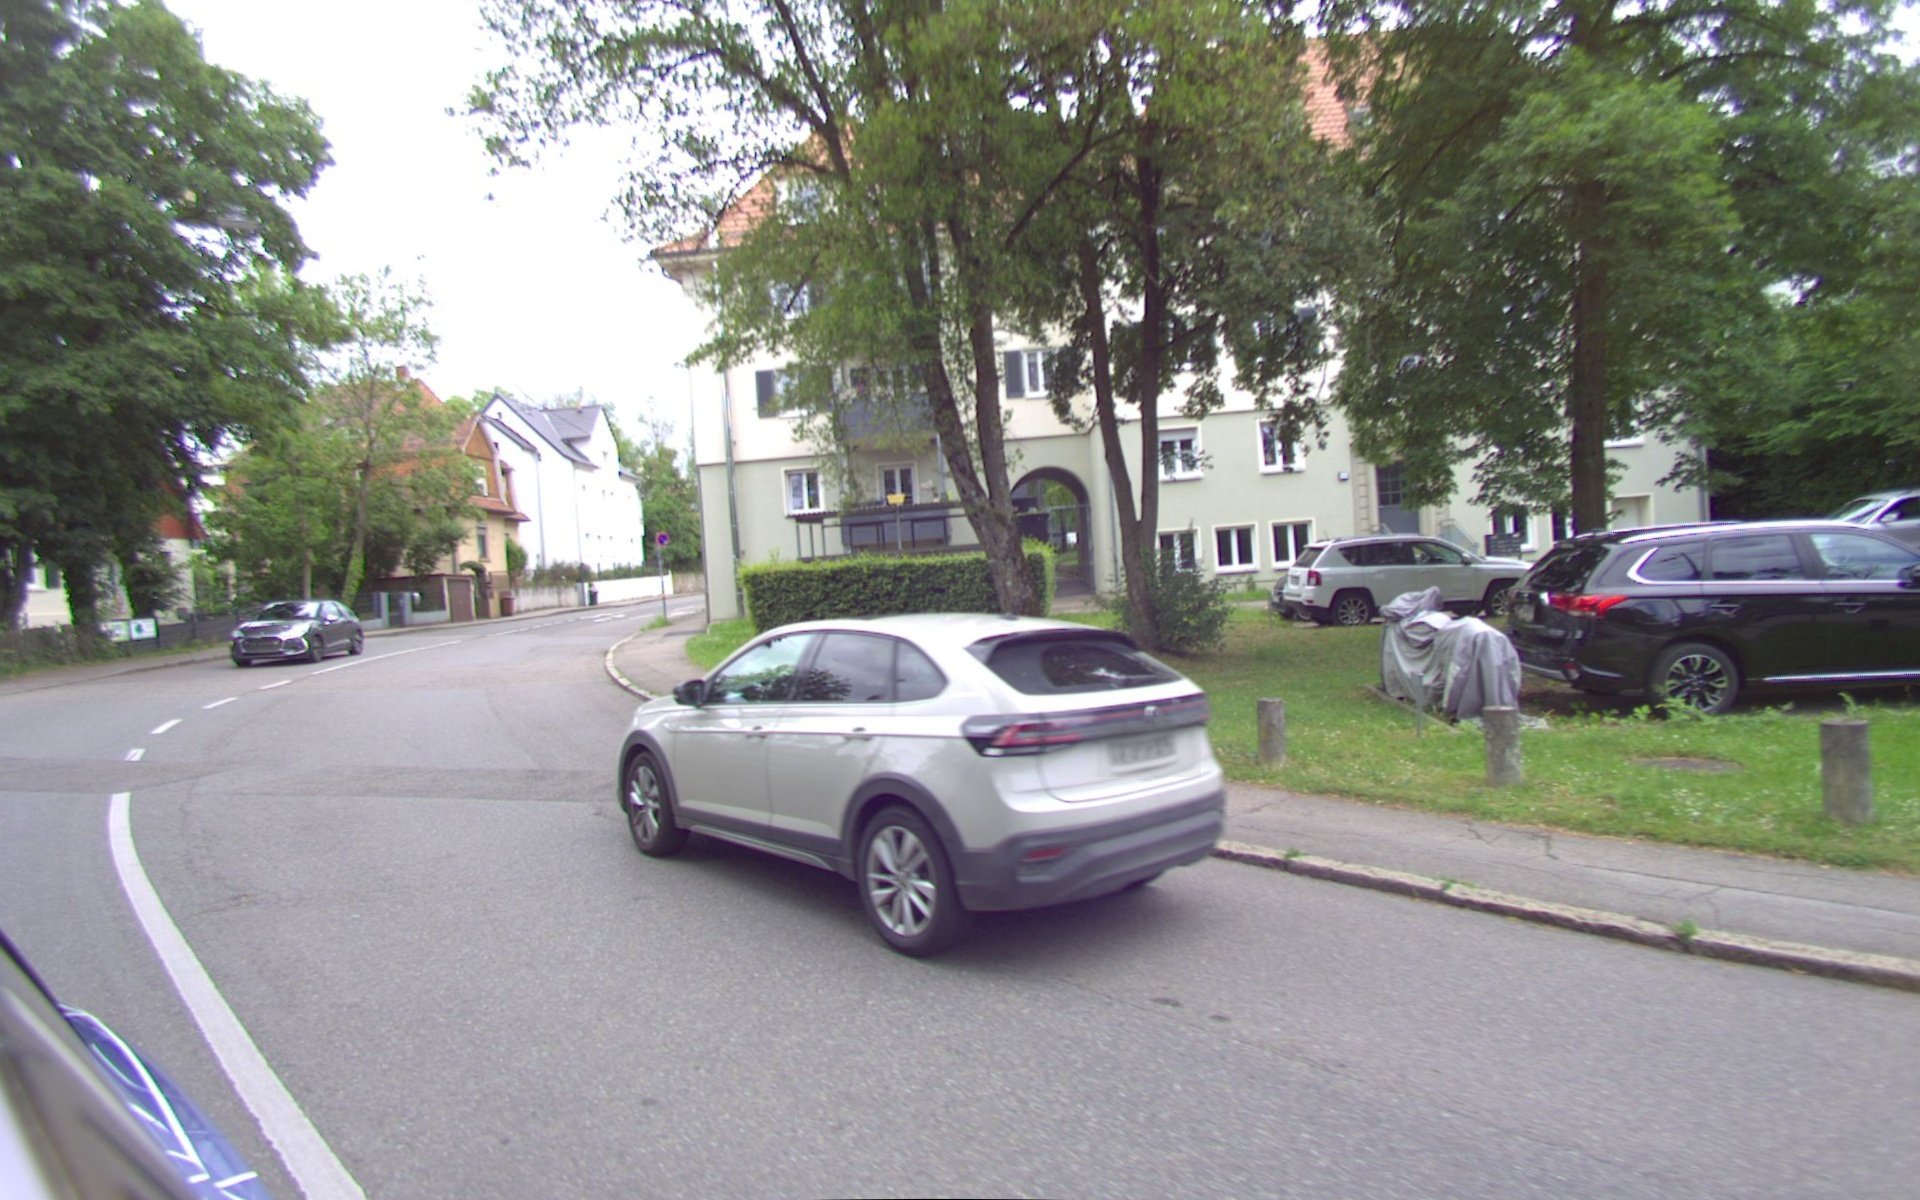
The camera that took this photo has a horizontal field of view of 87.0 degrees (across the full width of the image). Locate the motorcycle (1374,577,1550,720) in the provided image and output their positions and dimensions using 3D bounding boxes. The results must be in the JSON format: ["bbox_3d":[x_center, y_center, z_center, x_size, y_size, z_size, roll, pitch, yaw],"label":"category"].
[{"bbox_3d":[4.727,0.401,9.718,0.855,1.160,2.062,-3,2,8],"label":"motorcycle"}]

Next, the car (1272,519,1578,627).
[{"bbox_3d":[8.246,-0.485,18.322,4.533,1.544,1.954,-4,2,5],"label":"car"}]

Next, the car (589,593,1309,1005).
[{"bbox_3d":[-0.365,0.752,5.689,1.704,1.468,4.081,1,-2,-44],"label":"car"}]

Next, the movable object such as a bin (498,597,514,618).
[{"bbox_3d":[-21.700,0.356,48.357,0.456,0.931,0.566,0,2,1],"label":"movable object such as a bin"}]

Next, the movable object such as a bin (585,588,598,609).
[{"bbox_3d":[-21.356,-0.072,58.686,0.522,1.187,0.634,0,2,1],"label":"movable object such as a bin"}]

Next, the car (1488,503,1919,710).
[{"bbox_3d":[7.470,-0.001,9.234,4.282,1.605,1.743,-3,2,8],"label":"car"}]

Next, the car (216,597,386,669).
[{"bbox_3d":[-15.713,0.732,24.378,1.624,1.408,3.783,-3,2,-1],"label":"car"}]

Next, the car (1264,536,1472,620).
[{"bbox_3d":[8.170,-0.455,20.513,3.560,1.409,1.505,-4,2,8],"label":"car"}]

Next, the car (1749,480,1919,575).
[{"bbox_3d":[19.343,-1.548,20.774,4.576,1.743,1.742,-4,2,10],"label":"car"}]
